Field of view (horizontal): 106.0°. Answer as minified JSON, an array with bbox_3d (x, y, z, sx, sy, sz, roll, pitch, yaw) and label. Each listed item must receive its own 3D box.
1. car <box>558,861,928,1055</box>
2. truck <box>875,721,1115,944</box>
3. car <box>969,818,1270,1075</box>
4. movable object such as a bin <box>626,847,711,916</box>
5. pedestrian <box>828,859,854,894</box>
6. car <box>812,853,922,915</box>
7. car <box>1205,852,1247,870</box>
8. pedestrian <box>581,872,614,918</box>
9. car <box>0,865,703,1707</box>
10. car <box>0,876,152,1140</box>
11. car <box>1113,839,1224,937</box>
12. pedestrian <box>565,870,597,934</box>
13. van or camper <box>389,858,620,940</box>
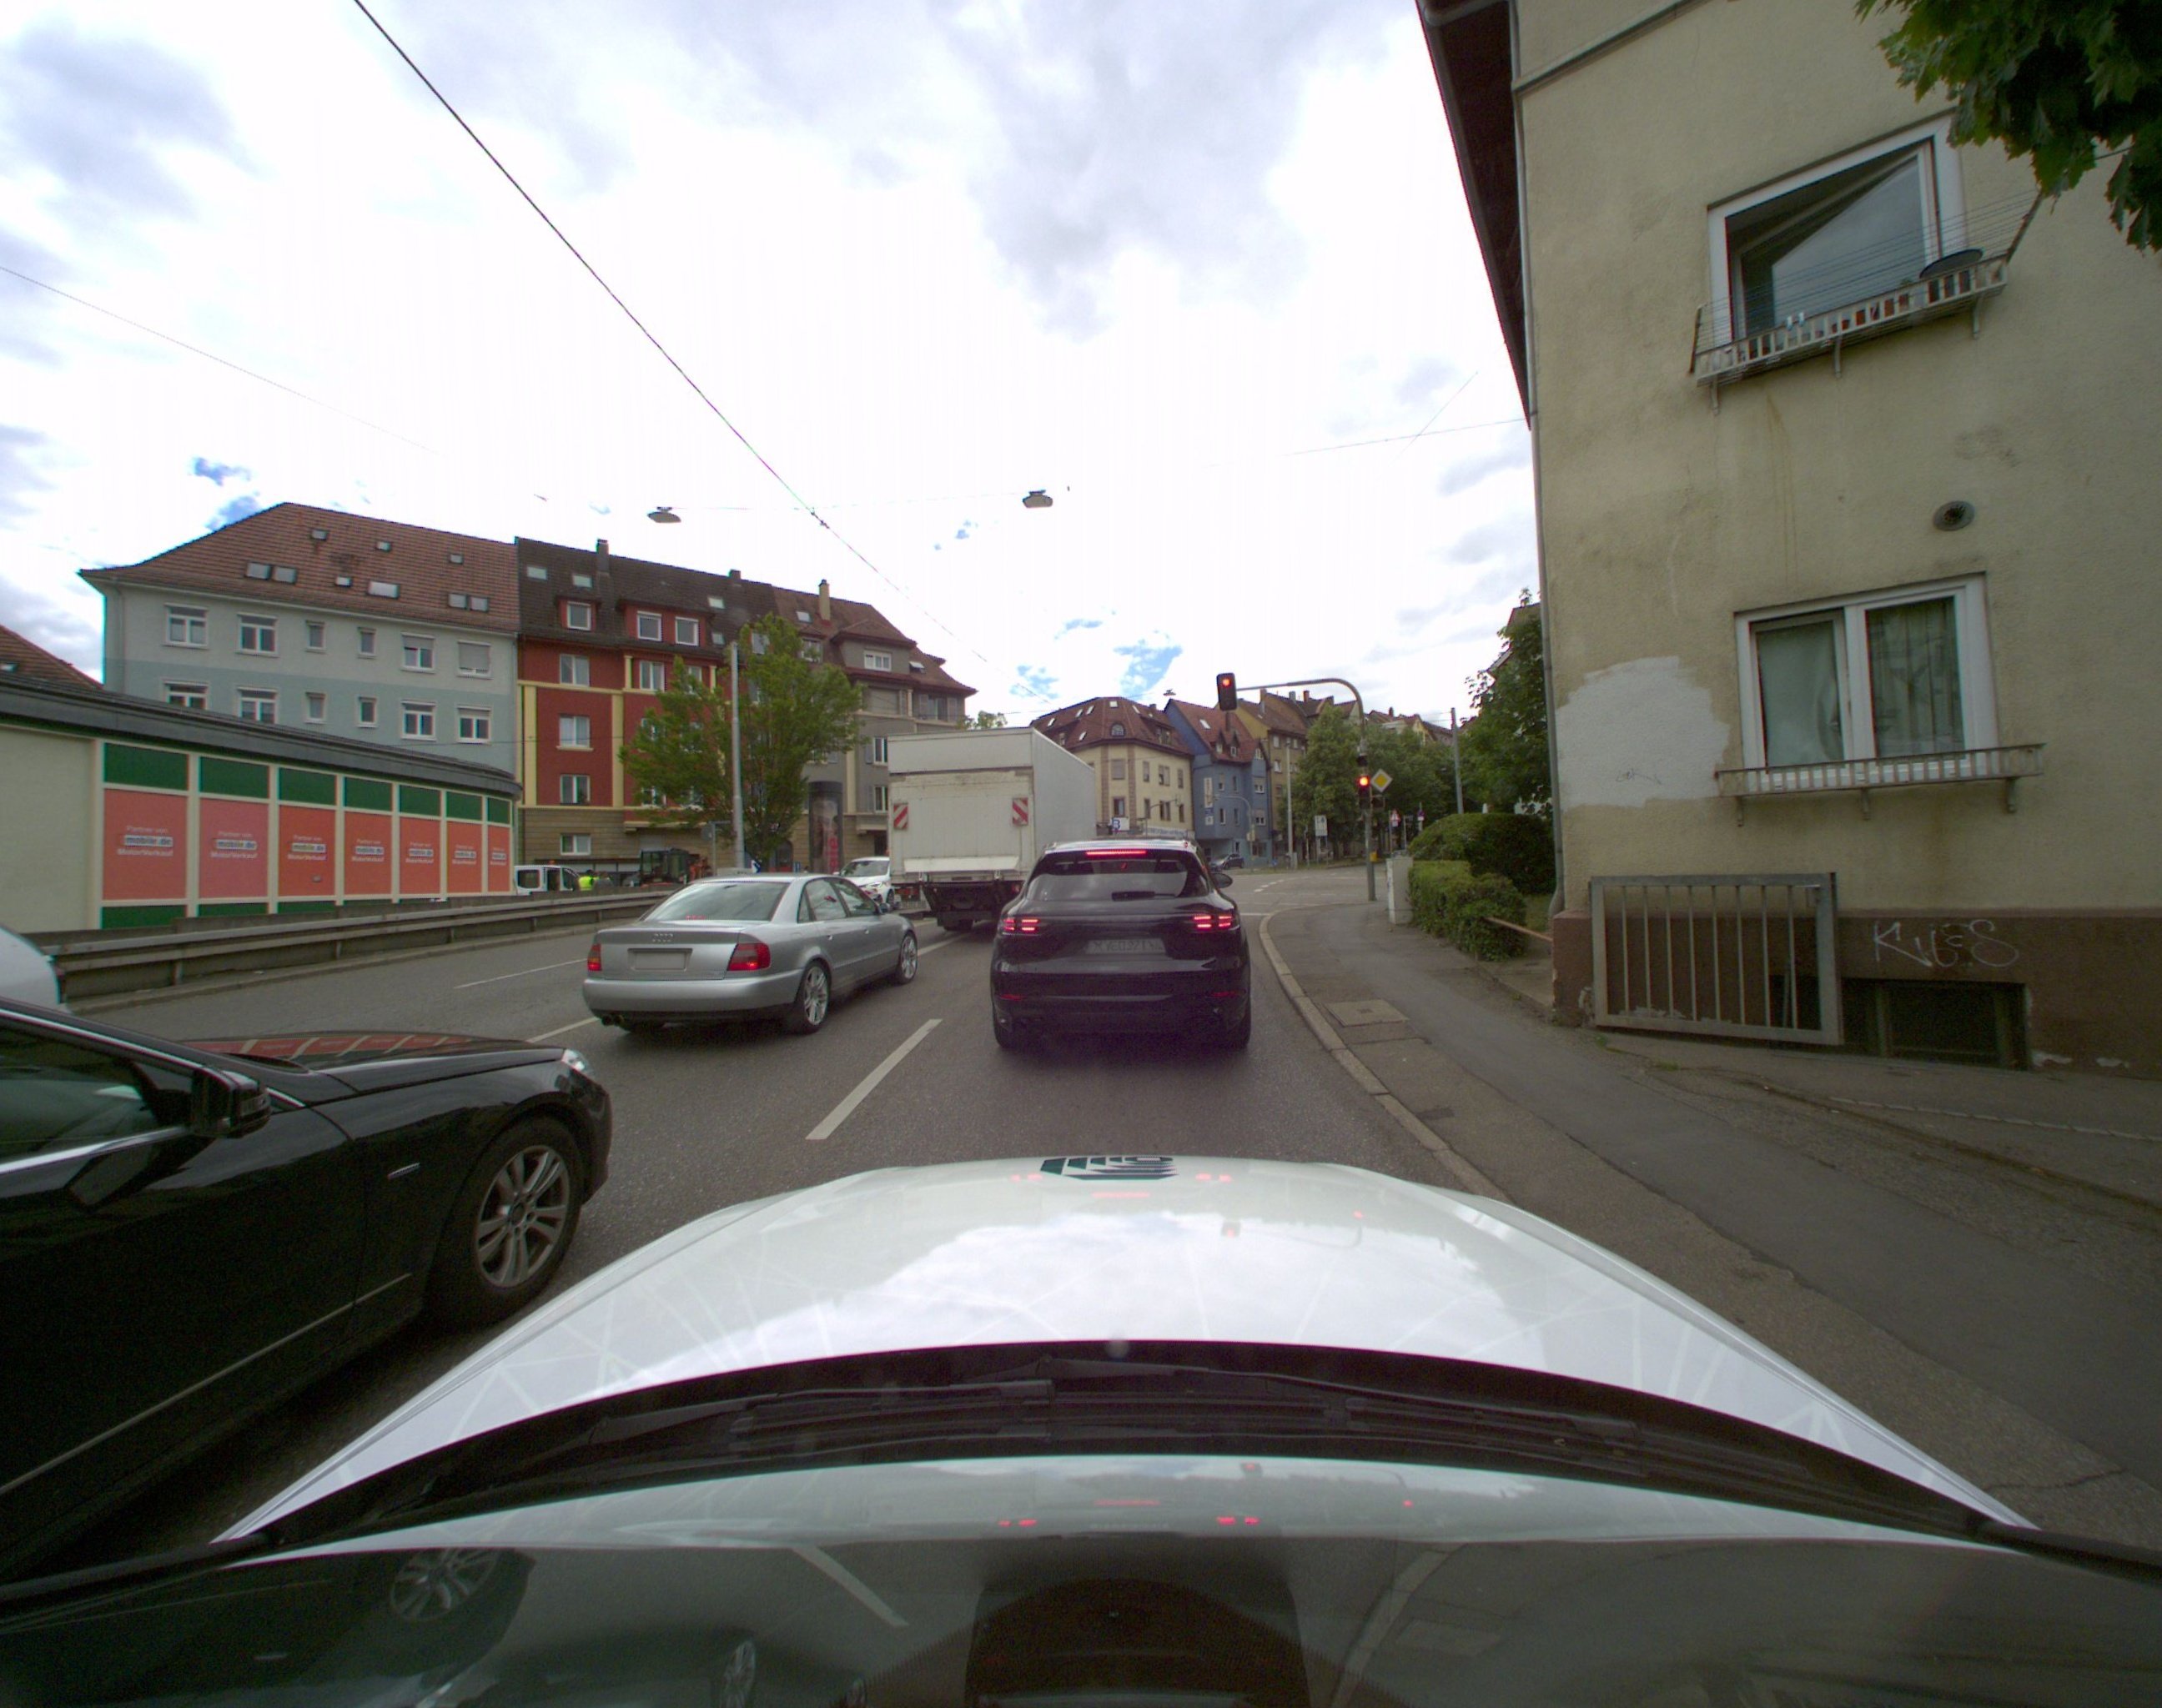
[{"bbox_3d":[-2.962,0.815,8.221,1.620,1.365,4.135,-2,0,6],"label":"car"},{"bbox_3d":[-1.272,-0.351,17.514,2.708,3.544,8.446,-2,0,10],"label":"truck"},{"bbox_3d":[0.328,0.642,7.755,2.024,1.723,4.501,0,-1,2],"label":"car"},{"bbox_3d":[-13.148,0.836,26.157,1.375,2.013,3.524,-2,0,-10],"label":"movable object such as a bin"},{"bbox_3d":[-10.794,1.007,36.684,0.784,1.546,0.743,-2,0,35],"label":"pedestrian"},{"bbox_3d":[-5.969,0.784,23.236,1.763,1.521,4.088,-3,0,4],"label":"car"},{"bbox_3d":[12.720,0.602,71.308,1.700,1.477,4.244,-2,-3,42],"label":"car"},{"bbox_3d":[-14.774,1.248,24.890,0.594,1.363,0.630,-2,0,35],"label":"pedestrian"},{"bbox_3d":[-2.872,0.805,1.420,1.986,1.429,4.844,-2,0,2],"label":"car"},{"bbox_3d":[-6.878,0.880,3.570,1.585,1.483,3.595,-1,-1,-4],"label":"car"},{"bbox_3d":[1.703,0.561,14.871,1.638,1.556,3.595,-1,-1,12],"label":"car"},{"bbox_3d":[-16.450,1.560,26.793,0.829,2.013,0.673,-1,0,-33],"label":"pedestrian"},{"bbox_3d":[-18.989,1.378,27.267,6.028,2.338,2.661,-1,0,-33],"label":"van or camper"}]
